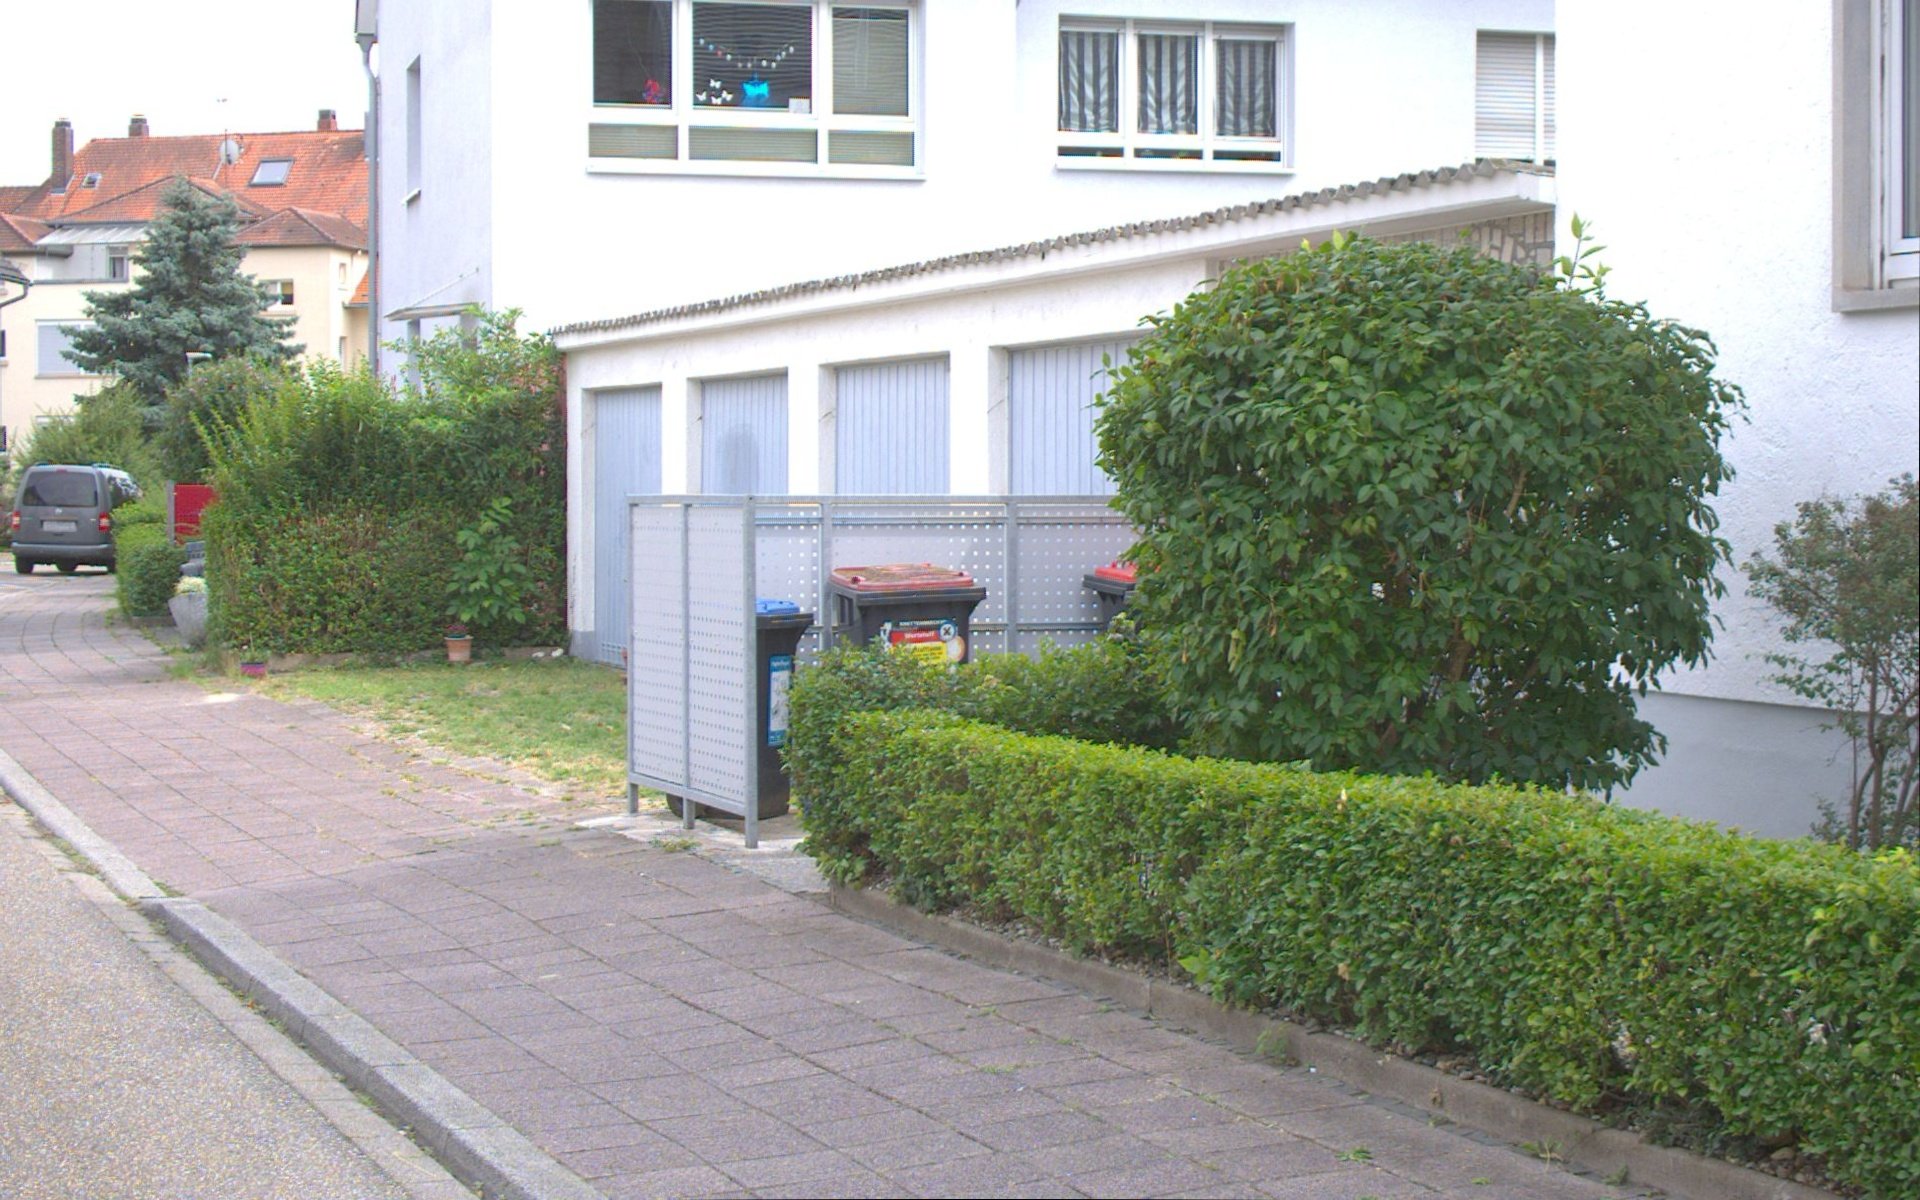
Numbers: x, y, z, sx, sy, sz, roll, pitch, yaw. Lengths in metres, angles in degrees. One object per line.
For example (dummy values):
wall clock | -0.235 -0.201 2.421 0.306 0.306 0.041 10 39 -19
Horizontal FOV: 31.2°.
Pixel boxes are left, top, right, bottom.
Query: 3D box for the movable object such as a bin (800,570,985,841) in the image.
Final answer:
movable object such as a bin | -0.299 0.442 14.876 0.579 1.134 0.755 0 0 -20

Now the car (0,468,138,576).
car | -15.151 -1.302 58.611 1.853 1.736 4.347 0 0 -9

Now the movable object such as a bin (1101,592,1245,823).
movable object such as a bin | 0.915 0.453 14.807 0.453 0.970 0.507 0 0 -19

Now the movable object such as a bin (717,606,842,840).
movable object such as a bin | -0.772 0.514 14.640 0.389 0.970 0.515 0 0 -20

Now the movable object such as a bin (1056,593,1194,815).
movable object such as a bin | 0.733 0.457 15.370 0.453 0.970 0.507 0 0 -19
